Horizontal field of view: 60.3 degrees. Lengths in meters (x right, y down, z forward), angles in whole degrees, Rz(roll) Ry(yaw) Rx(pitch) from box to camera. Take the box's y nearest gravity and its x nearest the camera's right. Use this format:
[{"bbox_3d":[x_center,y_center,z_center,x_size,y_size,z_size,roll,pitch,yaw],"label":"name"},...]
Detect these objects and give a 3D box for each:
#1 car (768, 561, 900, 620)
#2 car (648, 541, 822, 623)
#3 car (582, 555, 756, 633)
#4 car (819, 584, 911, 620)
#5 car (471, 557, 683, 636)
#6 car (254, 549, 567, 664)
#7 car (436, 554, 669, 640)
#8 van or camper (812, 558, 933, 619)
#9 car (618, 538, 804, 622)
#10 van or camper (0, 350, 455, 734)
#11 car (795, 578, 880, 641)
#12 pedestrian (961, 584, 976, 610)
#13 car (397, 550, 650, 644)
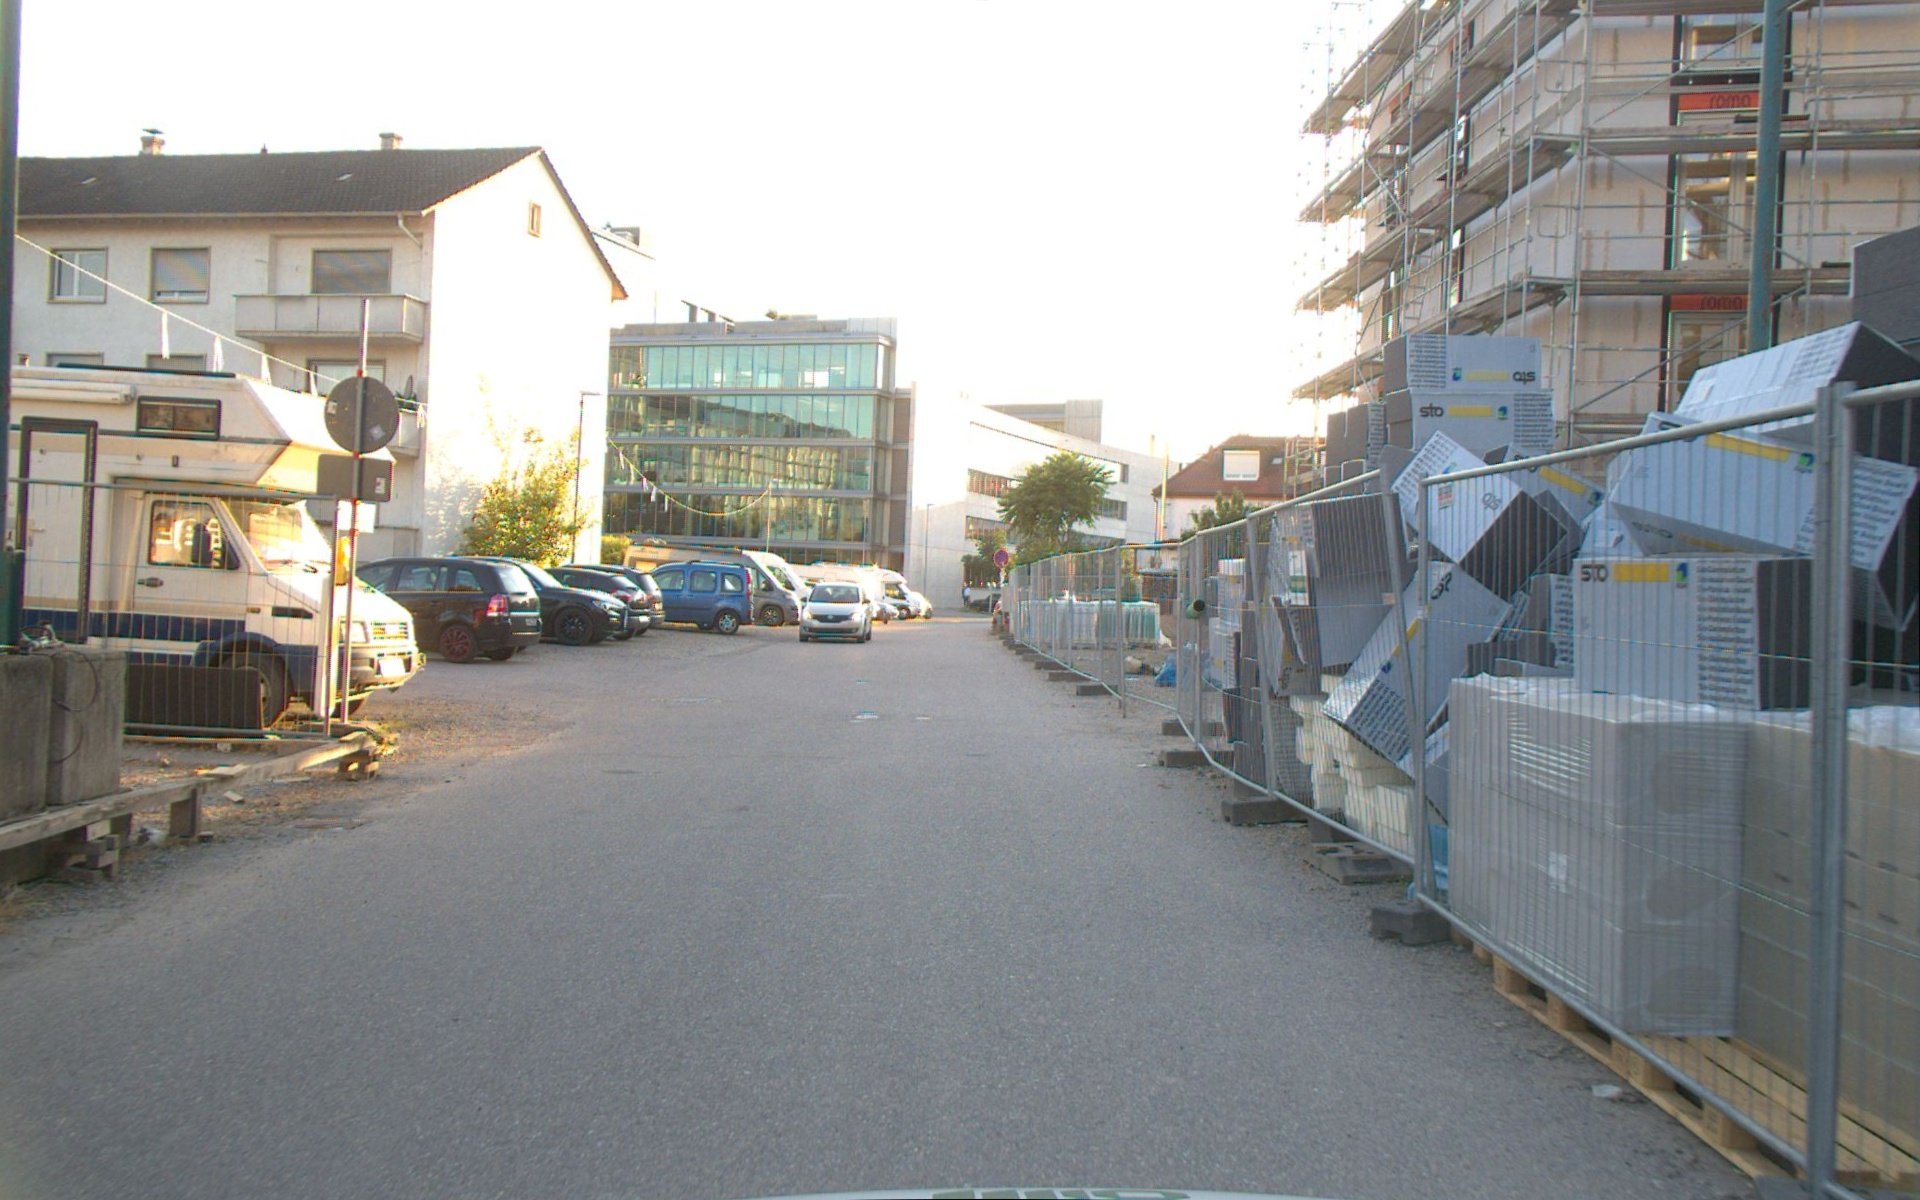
[{"bbox_3d":[-5.873,-0.430,77.381,5.797,2.533,2.002,2,0,10],"label":"car"},{"bbox_3d":[-8.389,-0.670,62.037,6.199,2.789,2.000,2,0,-1],"label":"car"},{"bbox_3d":[-7.730,-0.151,44.347,4.418,1.901,1.997,2,0,-7],"label":"car"},{"bbox_3d":[-4.908,0.081,85.550,4.408,1.676,2.002,2,0,7],"label":"car"},{"bbox_3d":[-9.035,-0.098,39.202,4.408,1.676,2.002,2,0,7],"label":"car"},{"bbox_3d":[-8.973,0.089,27.218,4.408,1.676,2.002,2,0,7],"label":"car"},{"bbox_3d":[-8.782,-0.070,35.832,4.408,1.676,2.002,2,0,7],"label":"car"},{"bbox_3d":[-4.811,-0.623,91.230,6.198,3.030,2.294,3,0,11],"label":"van or camper"},{"bbox_3d":[-8.699,-0.710,58.180,6.199,2.697,2.000,2,0,-1],"label":"car"},{"bbox_3d":[-9.360,-0.586,15.097,8.585,3.102,2.595,2,0,0],"label":"van or camper"},{"bbox_3d":[-3.238,0.232,44.281,1.629,1.555,3.912,2,0,5],"label":"car"},{"bbox_3d":[0.636,-0.228,120.007,0.748,1.848,0.845,2,0,22],"label":"pedestrian"},{"bbox_3d":[-8.685,-0.067,33.103,4.408,1.676,2.002,2,0,7],"label":"car"}]
